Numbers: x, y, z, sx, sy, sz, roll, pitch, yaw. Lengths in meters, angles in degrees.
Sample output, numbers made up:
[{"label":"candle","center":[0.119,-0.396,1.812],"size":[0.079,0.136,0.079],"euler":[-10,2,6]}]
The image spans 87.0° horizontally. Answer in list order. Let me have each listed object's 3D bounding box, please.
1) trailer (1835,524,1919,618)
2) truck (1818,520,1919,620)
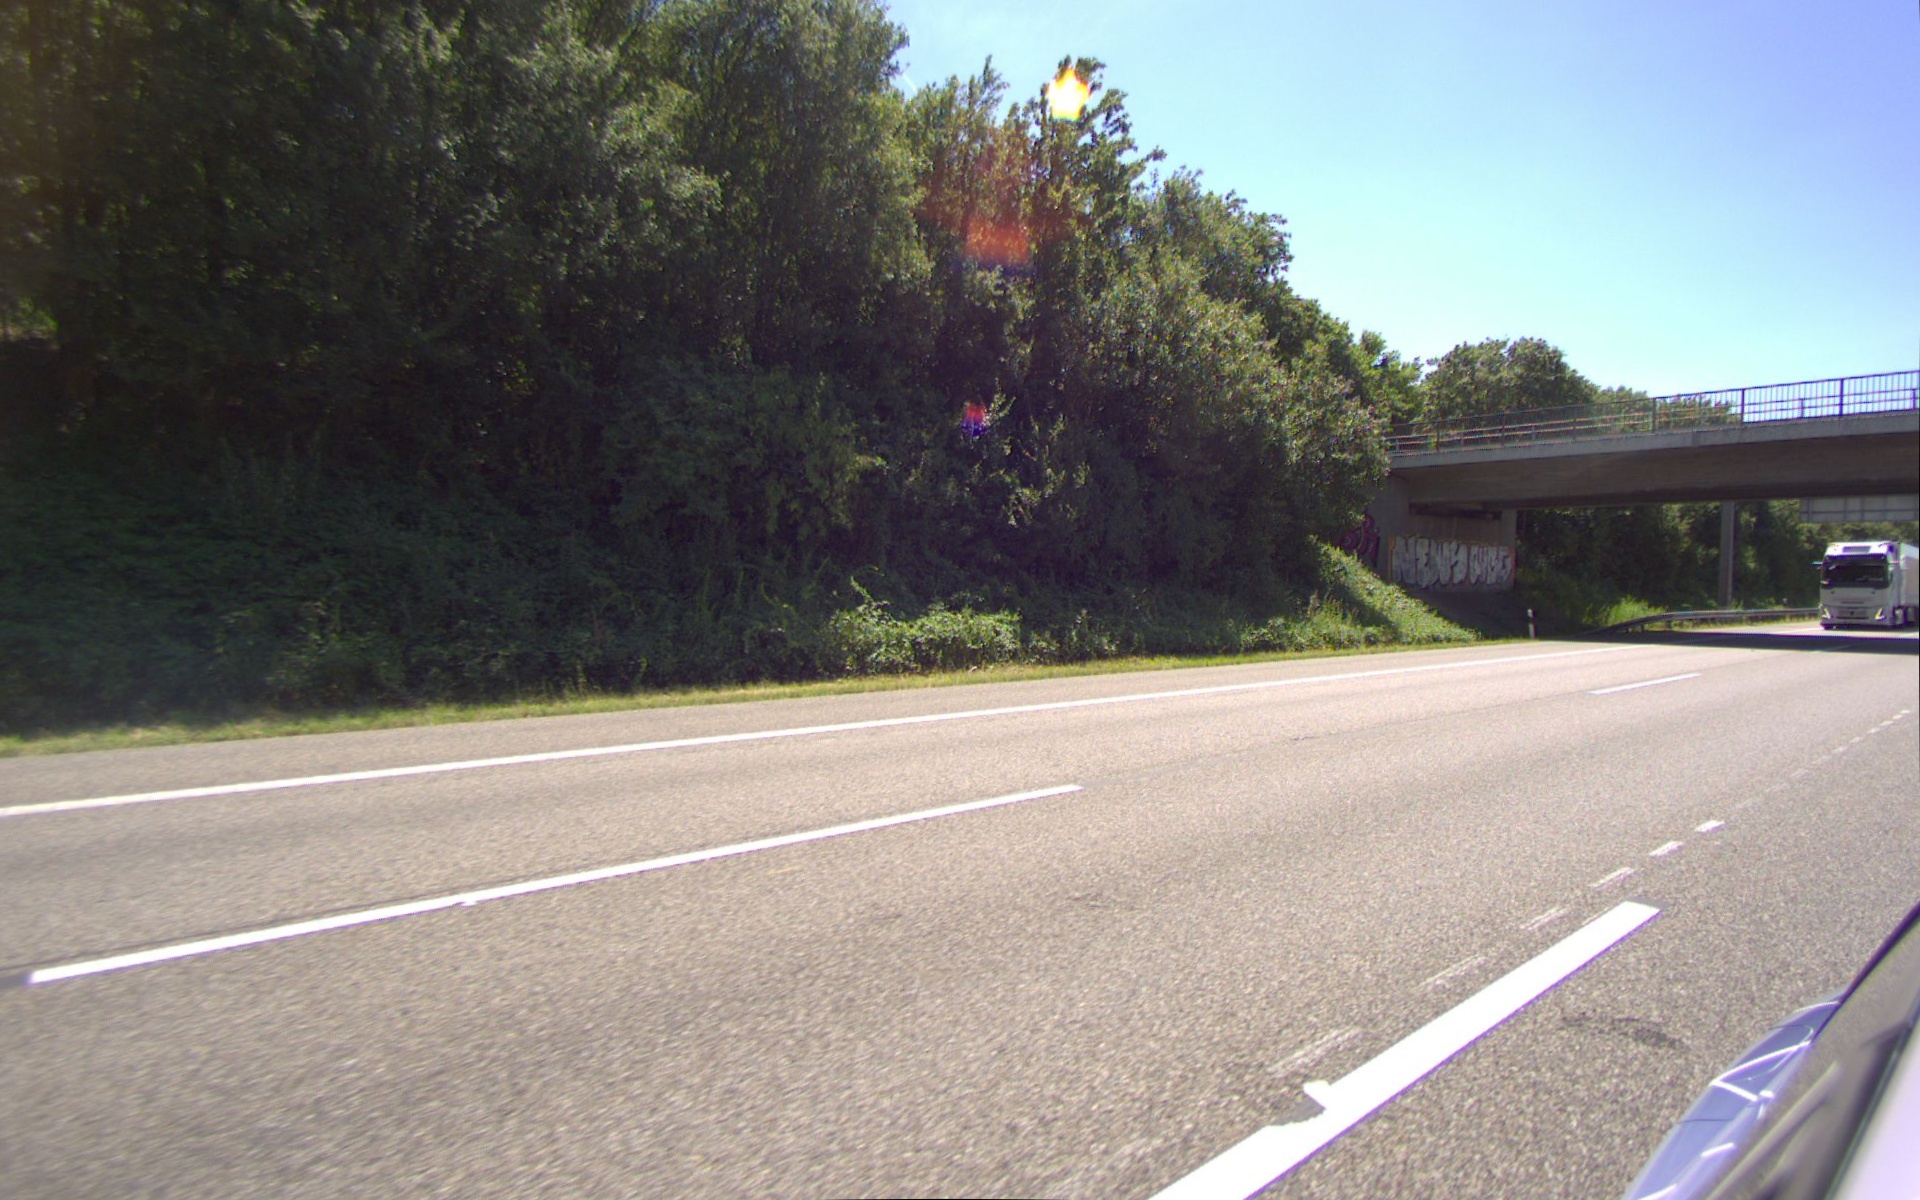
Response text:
[{"label":"trailer","center":[48.001,-1.354,51.849],"size":[13.596,4.278,3.044],"euler":[0,0,-42]},{"label":"truck","center":[41.872,-1.292,46.388],"size":[5.944,4.268,3.052],"euler":[0,0,-41]}]
